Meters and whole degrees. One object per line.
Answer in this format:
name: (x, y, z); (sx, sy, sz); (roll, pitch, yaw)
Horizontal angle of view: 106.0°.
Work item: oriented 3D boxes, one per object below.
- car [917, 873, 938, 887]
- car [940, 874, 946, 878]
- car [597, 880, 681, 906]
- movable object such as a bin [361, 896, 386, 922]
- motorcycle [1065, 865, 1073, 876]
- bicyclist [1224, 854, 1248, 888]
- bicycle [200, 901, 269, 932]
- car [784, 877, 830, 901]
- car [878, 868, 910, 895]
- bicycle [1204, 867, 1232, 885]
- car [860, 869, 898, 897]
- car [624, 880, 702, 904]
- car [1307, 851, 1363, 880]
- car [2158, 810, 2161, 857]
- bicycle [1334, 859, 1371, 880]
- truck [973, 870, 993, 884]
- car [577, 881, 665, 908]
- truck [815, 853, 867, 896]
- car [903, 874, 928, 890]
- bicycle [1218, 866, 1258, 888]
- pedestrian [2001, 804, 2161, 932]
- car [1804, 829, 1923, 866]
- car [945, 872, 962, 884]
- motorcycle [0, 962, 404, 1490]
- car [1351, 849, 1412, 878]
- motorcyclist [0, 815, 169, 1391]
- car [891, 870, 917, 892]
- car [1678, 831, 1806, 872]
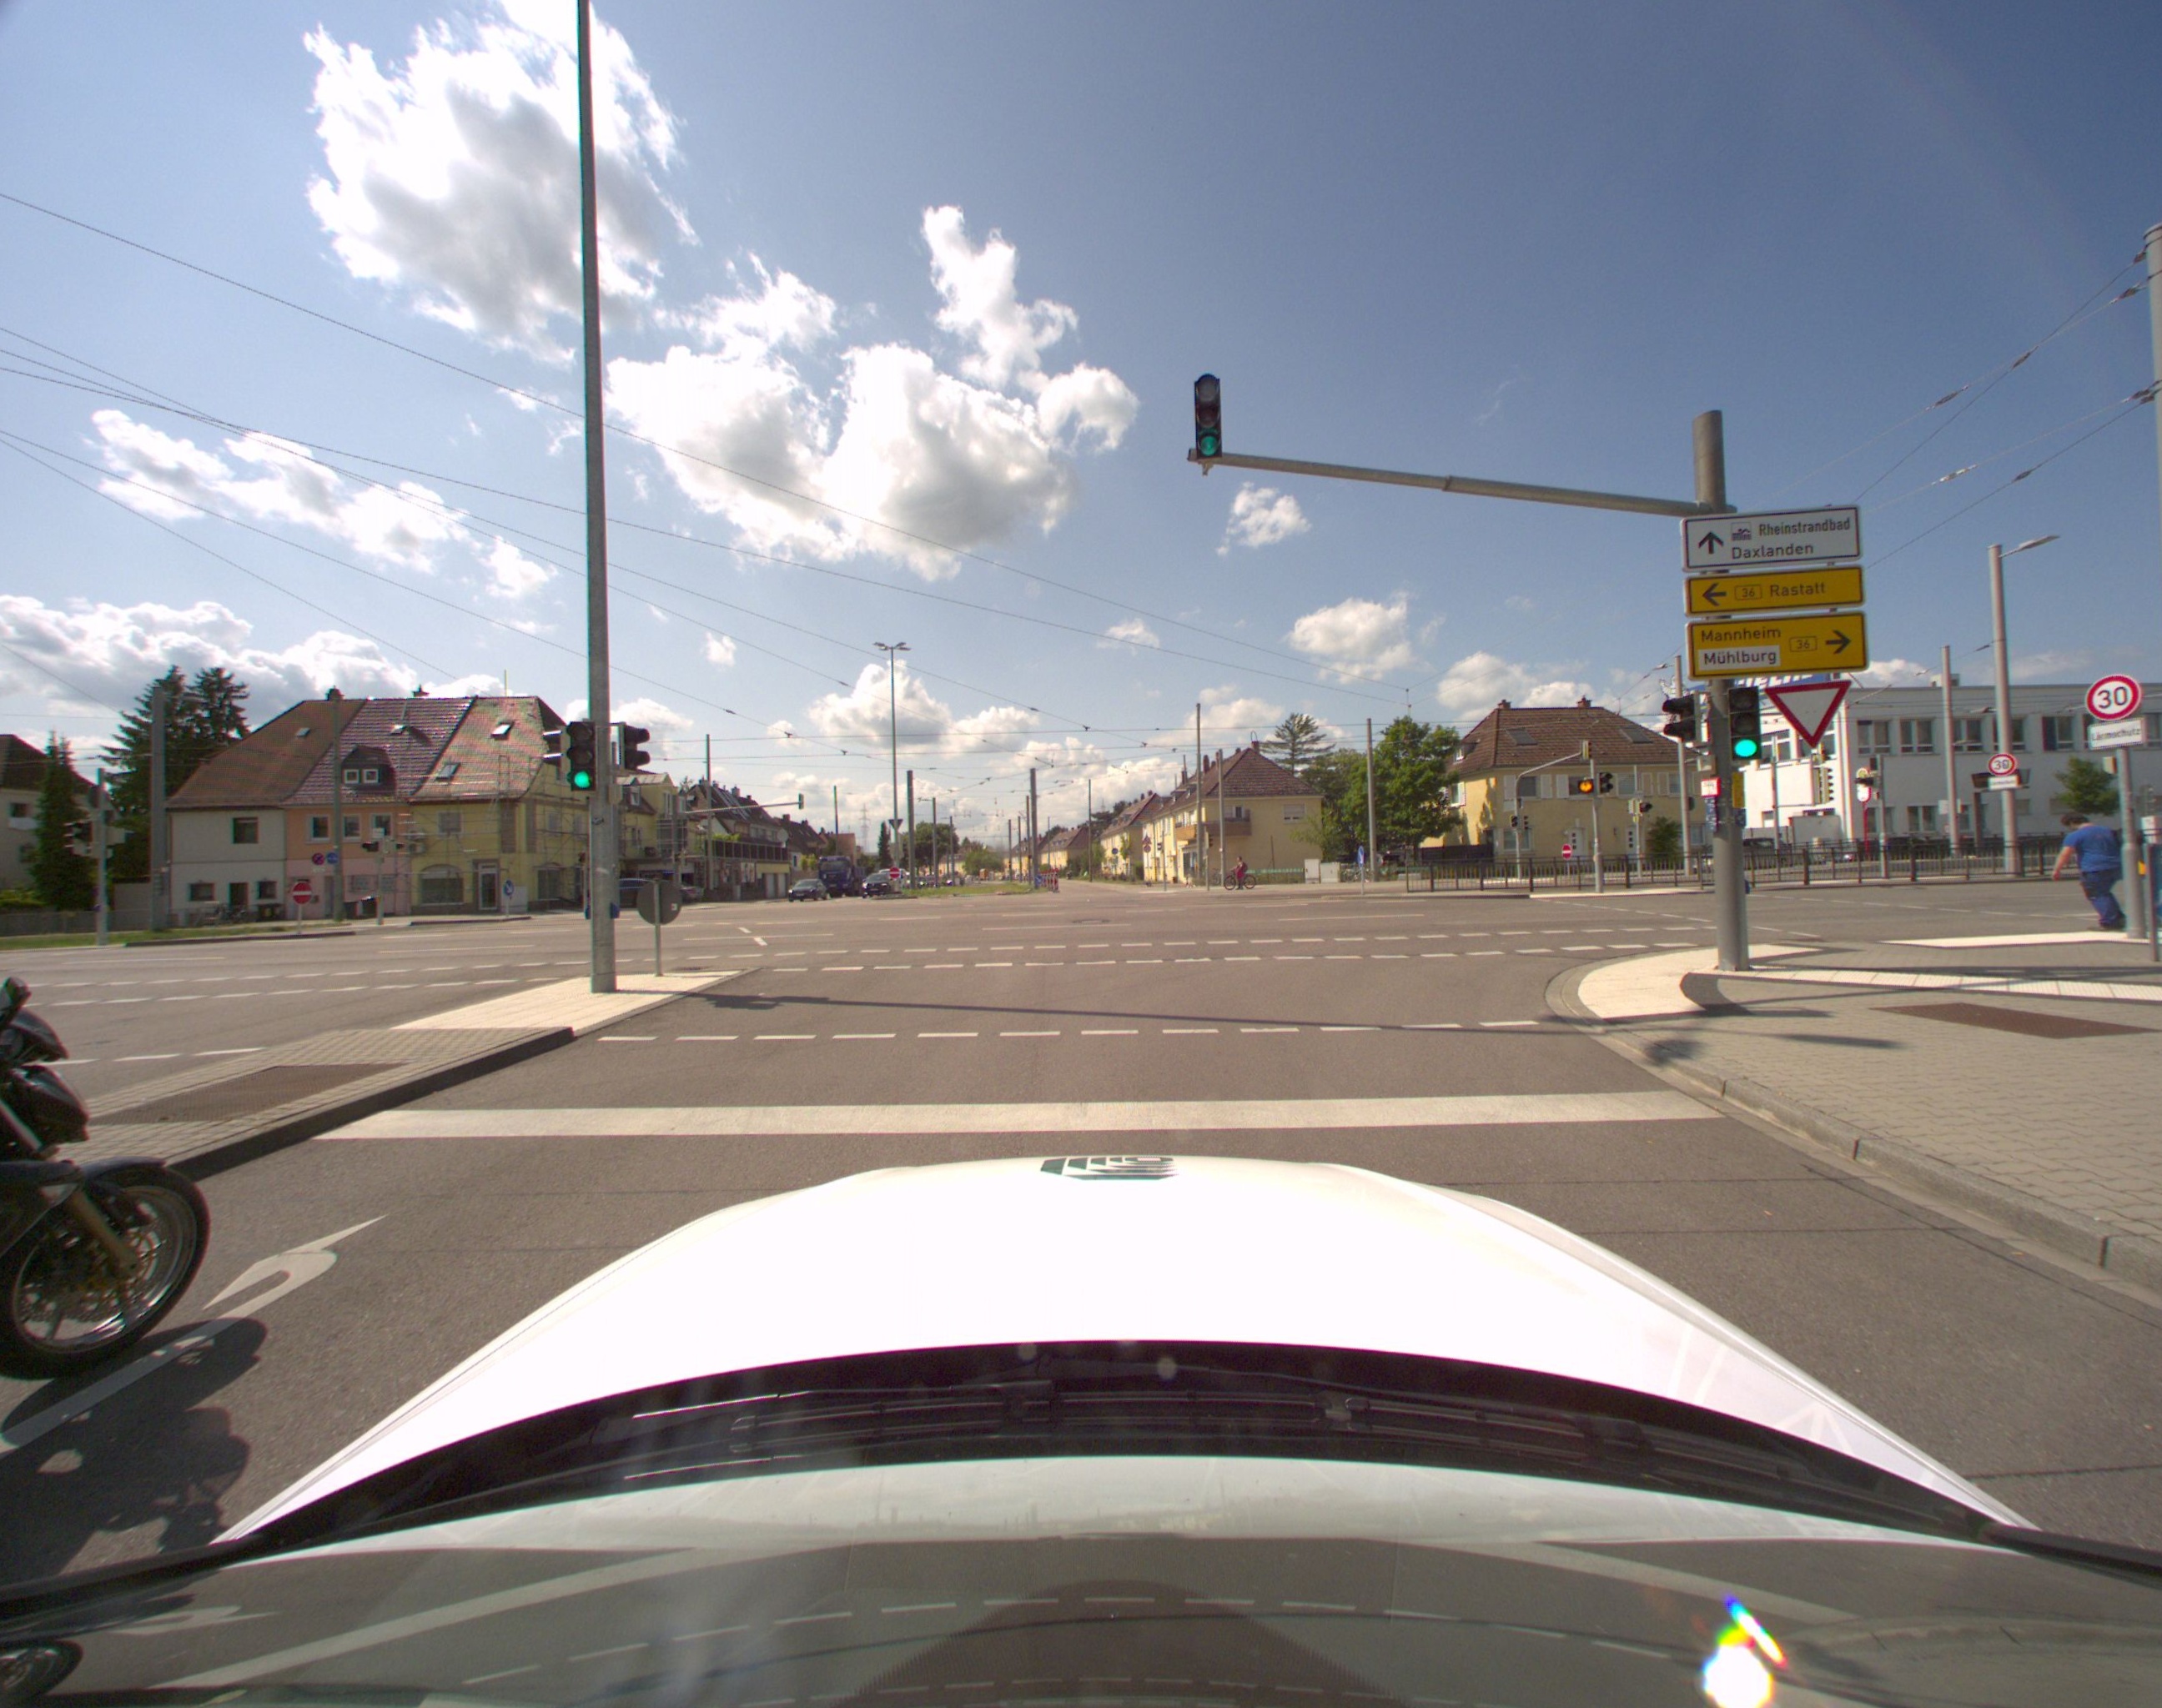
car: (-17.365, 2.974, 92.333); (1.841, 1.494, 4.846); (-2, -1, -6)
car: (-43.425, 6.948, 256.786); (1.264, 1.351, 2.642); (-2, -2, -26)
car: (-26.379, 2.314, 48.736); (4.131, 1.493, 1.503); (0, -1, -7)
movable object such as a bin: (-36.168, 2.805, 41.631); (0.680, 1.260, 0.681); (-1, -1, -3)
motorcycle: (-1.890, 2.576, 128.513); (1.065, 1.635, 2.078); (-2, -1, -7)
bicyclist: (8.314, 0.915, 43.564); (0.962, 1.775, 0.713); (-1, -2, -25)
bicycle: (-41.599, 3.071, 40.078); (0.770, 1.356, 2.459); (-1, -1, 2)
car: (-18.251, 2.303, 54.448); (1.824, 1.487, 4.327); (-2, -1, -4)
car: (-14.243, 2.047, 62.316); (1.813, 1.922, 4.736); (-2, -1, -7)
bicycle: (8.631, 1.380, 51.456); (0.596, 1.096, 2.258); (-1, -2, -24)
car: (-13.818, 1.972, 55.896); (1.784, 1.720, 4.432); (-2, 0, -5)
car: (-26.365, 2.385, 51.447); (4.131, 1.493, 1.431); (0, -1, -8)
car: (16.004, 0.749, 51.498); (1.821, 1.621, 3.987); (-2, -2, -8)
car: (51.827, -1.039, 36.465); (4.818, 2.159, 1.813); (-2, -1, -1)
bicycle: (14.899, 0.868, 44.724); (1.785, 1.105, 0.707); (-3, -1, 40)
truck: (-25.841, 6.085, 213.927); (2.651, 3.494, 9.365); (-2, -1, -22)
car: (-25.976, 2.274, 46.056); (4.131, 1.493, 1.176); (0, -1, -8)
truck: (-19.364, 1.684, 66.072); (2.766, 3.188, 7.563); (-2, -1, -7)
car: (-15.624, 2.617, 77.140); (1.913, 1.419, 3.990); (-2, -1, -7)
bicycle: (8.417, 1.251, 43.609); (2.036, 1.102, 0.709); (-2, -2, -24)
pedestrian: (14.480, 0.192, 11.814); (1.027, 1.735, 1.040); (-2, -1, -3)
car: (34.191, -0.272, 35.618); (3.700, 1.446, 1.575); (-2, -1, -1)
car: (-19.277, 3.631, 123.091); (1.812, 1.552, 4.002); (-2, -1, 2)
motorcycle: (-3.044, 0.986, 1.944); (0.838, 1.128, 2.358); (-2, -1, 0)
car: (18.800, 0.645, 51.112); (1.821, 1.621, 3.987); (-2, -2, -8)
motorcyclist: (-3.043, 0.616, 1.768); (0.820, 1.398, 1.100); (-1, 2, 0)
car: (-15.236, 2.295, 70.192); (1.731, 1.782, 4.393); (-2, -1, -7)
car: (28.245, -0.077, 34.871); (3.975, 1.568, 1.841); (-2, -1, -1)
